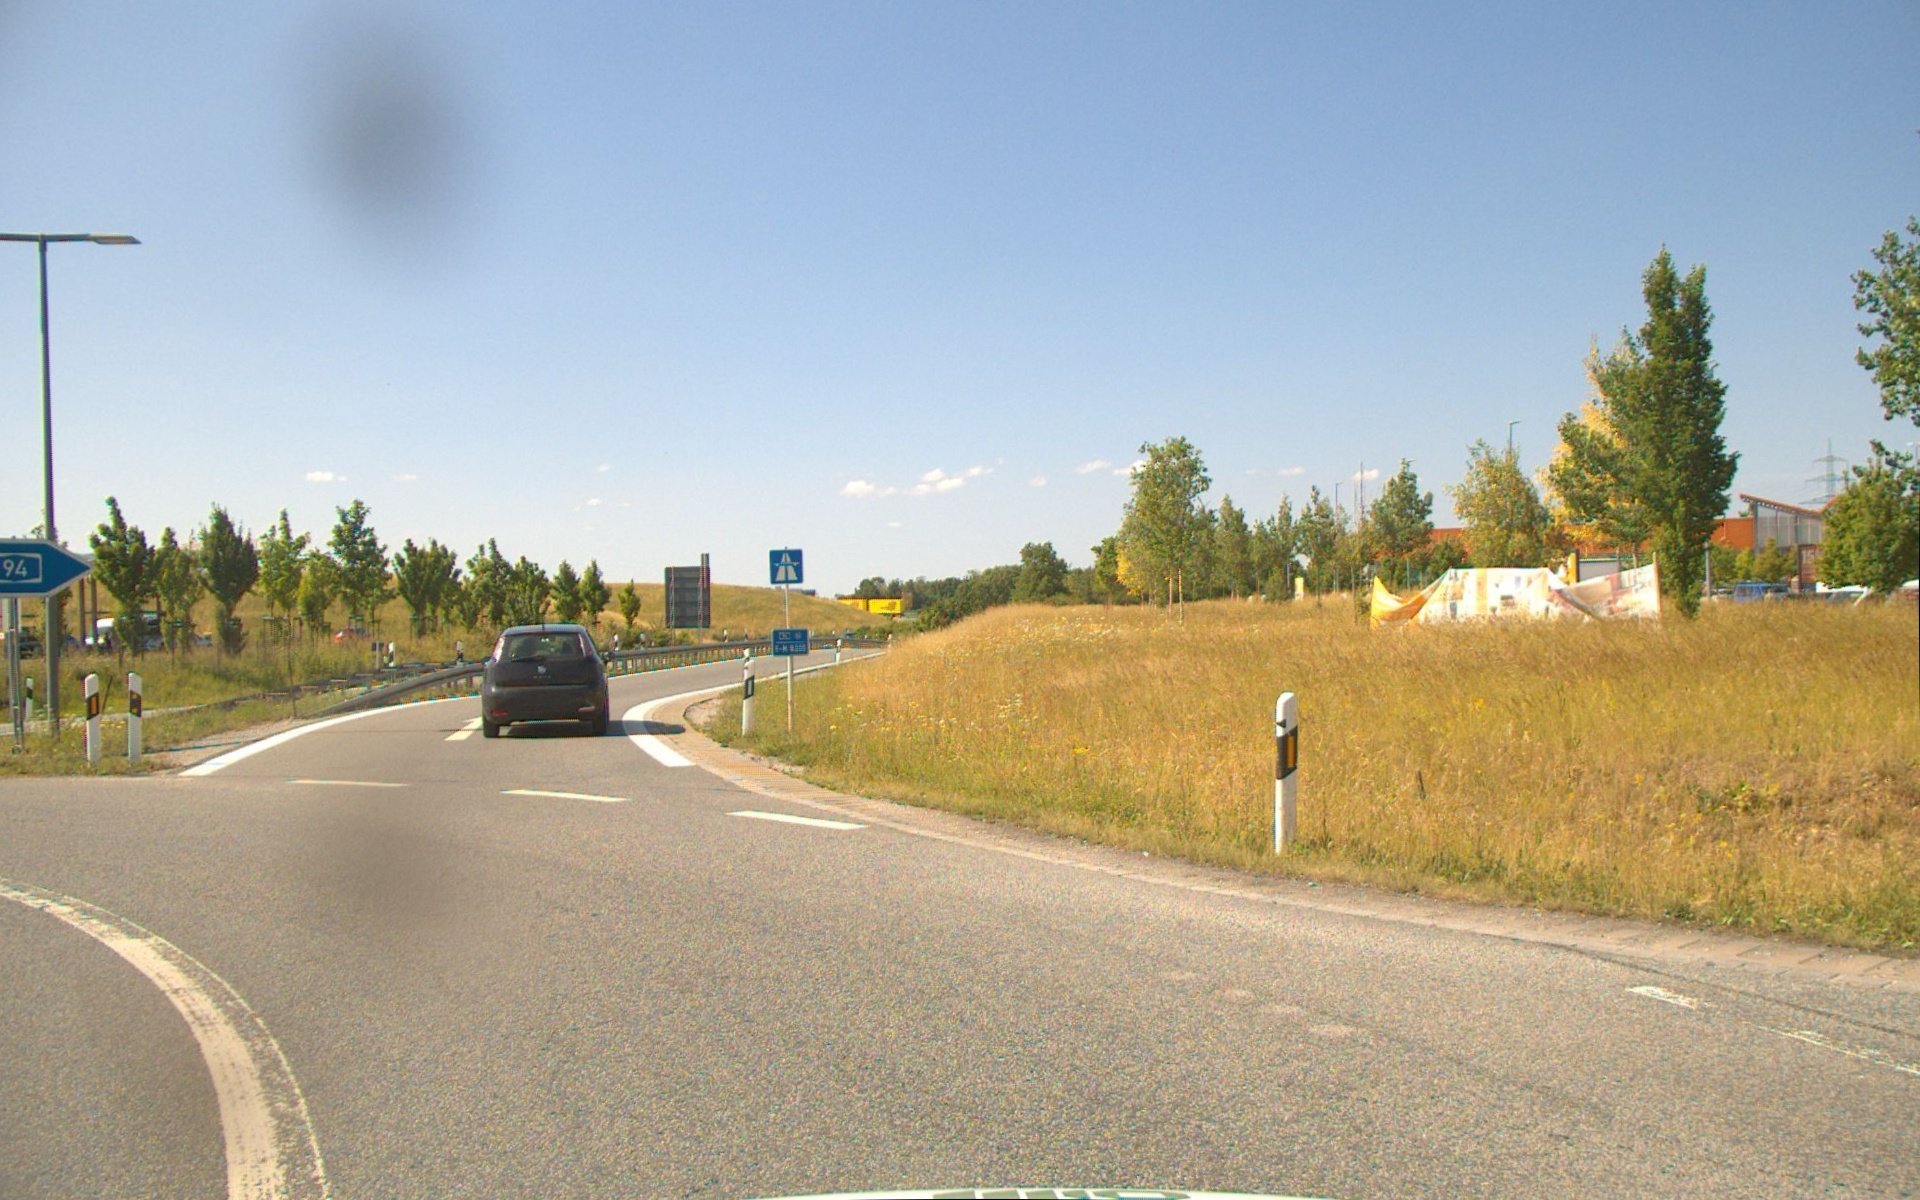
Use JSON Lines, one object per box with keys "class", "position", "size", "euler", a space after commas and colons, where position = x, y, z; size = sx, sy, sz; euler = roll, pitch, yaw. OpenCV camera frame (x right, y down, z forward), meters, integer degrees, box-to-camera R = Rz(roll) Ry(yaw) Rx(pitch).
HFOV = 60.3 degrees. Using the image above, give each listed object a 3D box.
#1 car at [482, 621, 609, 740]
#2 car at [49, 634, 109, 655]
{"class": "car", "position": [-5.952, 1.084, 23.694], "size": [1.612, 1.514, 3.888], "euler": [-1, -1, -15]}
{"class": "car", "position": [-49.142, 2.492, 92.295], "size": [2.646, 1.026, 1.246], "euler": [-2, 0, -2]}
